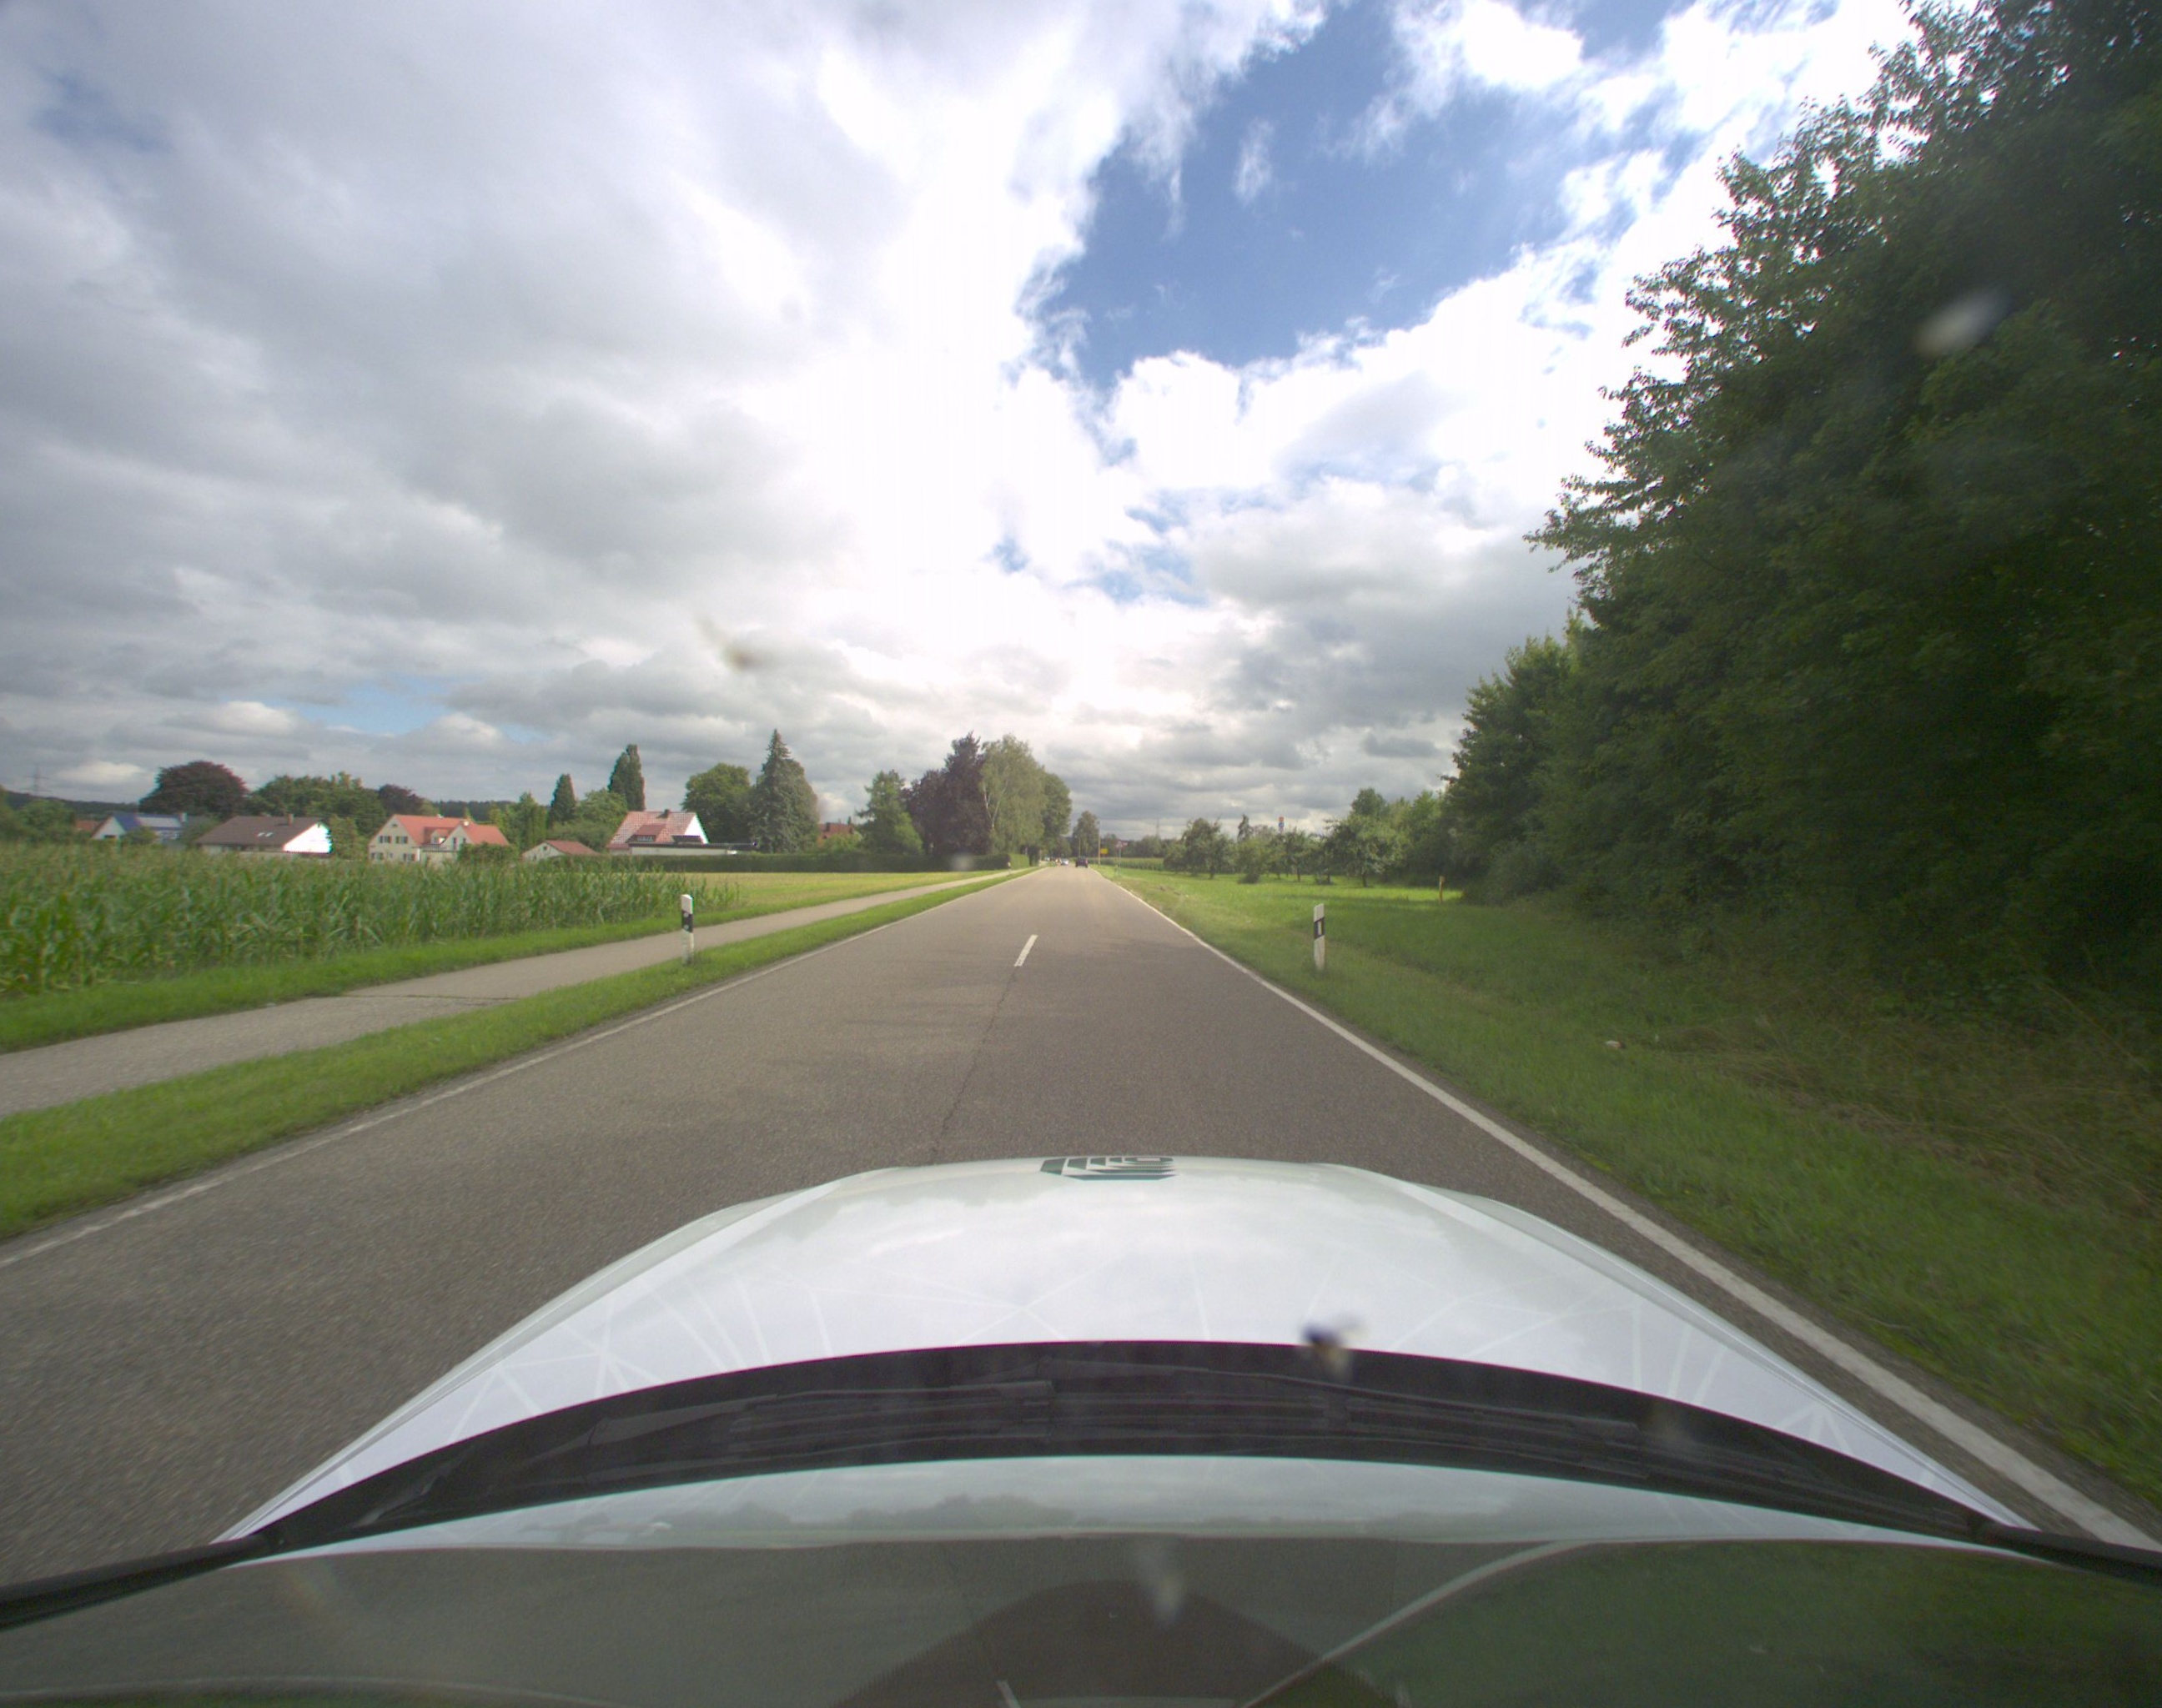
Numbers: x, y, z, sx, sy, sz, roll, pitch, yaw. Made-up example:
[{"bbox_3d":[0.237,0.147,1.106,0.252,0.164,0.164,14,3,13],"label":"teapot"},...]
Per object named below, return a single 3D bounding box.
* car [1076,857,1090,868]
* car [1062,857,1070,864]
[{"bbox_3d":[0.293,1.285,122.514,1.899,1.666,4.001,0,0,2],"label":"car"},{"bbox_3d":[-3.459,1.523,183.564,1.689,1.459,3.542,0,0,0],"label":"car"}]
